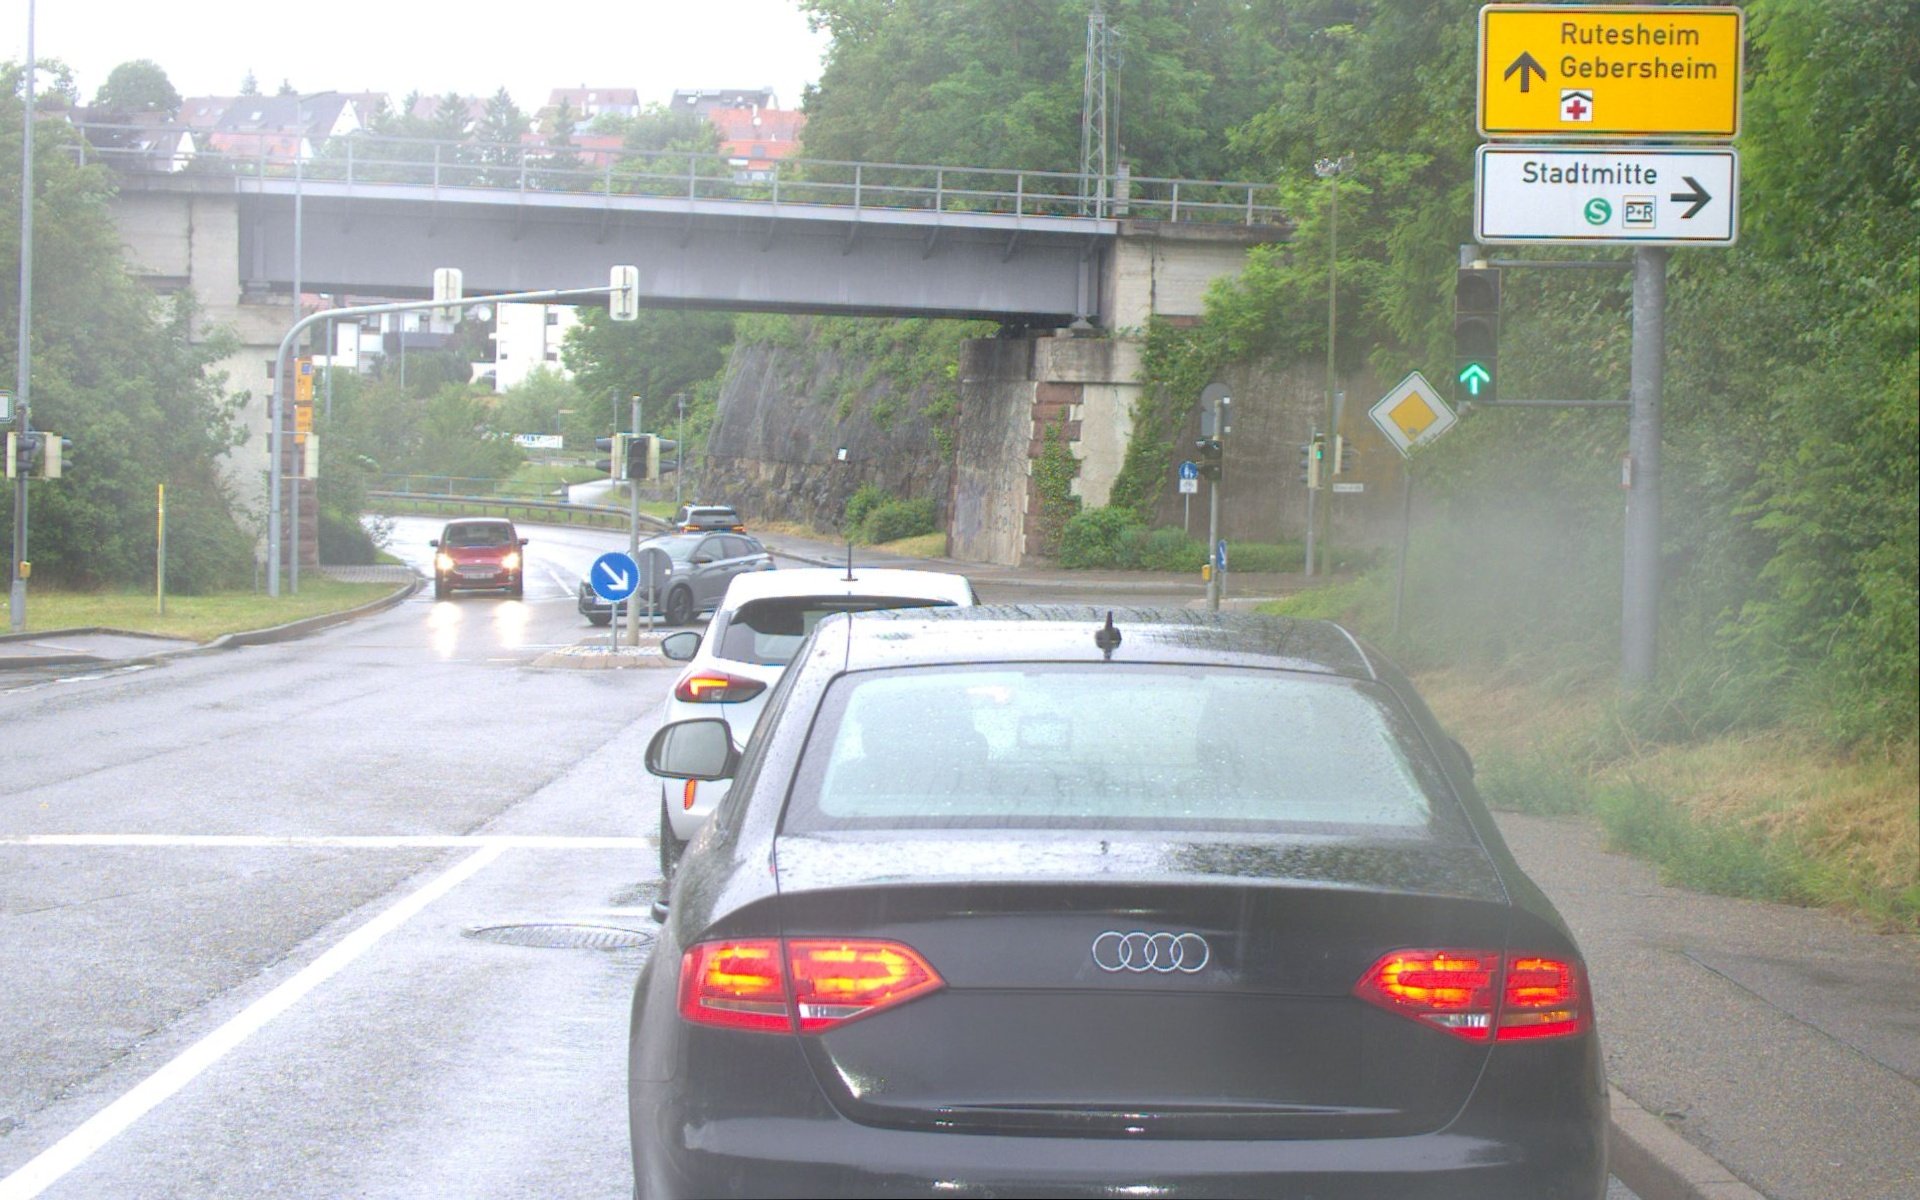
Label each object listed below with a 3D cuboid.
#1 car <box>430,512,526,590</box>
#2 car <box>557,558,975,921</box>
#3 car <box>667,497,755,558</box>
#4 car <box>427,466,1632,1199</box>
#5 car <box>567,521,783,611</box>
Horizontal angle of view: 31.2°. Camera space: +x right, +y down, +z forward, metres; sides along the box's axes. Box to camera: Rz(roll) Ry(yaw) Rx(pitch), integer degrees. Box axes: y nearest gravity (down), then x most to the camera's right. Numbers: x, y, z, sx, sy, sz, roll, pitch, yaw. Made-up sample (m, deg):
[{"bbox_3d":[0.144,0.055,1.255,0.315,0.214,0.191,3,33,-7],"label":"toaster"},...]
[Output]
[{"bbox_3d":[-10.452,-1.071,74.654,1.993,1.622,4.001,0,1,-7],"label":"car"},{"bbox_3d":[-0.875,0.617,17.067,1.823,1.579,4.000,0,0,-1],"label":"car"},{"bbox_3d":[-6.742,-1.962,92.678,1.993,1.590,4.001,-1,1,-10],"label":"car"},{"bbox_3d":[0.083,0.610,7.352,1.870,1.611,4.000,0,0,-1],"label":"car"},{"bbox_3d":[-4.827,-0.582,58.646,1.642,1.465,3.993,1,1,31],"label":"car"}]
